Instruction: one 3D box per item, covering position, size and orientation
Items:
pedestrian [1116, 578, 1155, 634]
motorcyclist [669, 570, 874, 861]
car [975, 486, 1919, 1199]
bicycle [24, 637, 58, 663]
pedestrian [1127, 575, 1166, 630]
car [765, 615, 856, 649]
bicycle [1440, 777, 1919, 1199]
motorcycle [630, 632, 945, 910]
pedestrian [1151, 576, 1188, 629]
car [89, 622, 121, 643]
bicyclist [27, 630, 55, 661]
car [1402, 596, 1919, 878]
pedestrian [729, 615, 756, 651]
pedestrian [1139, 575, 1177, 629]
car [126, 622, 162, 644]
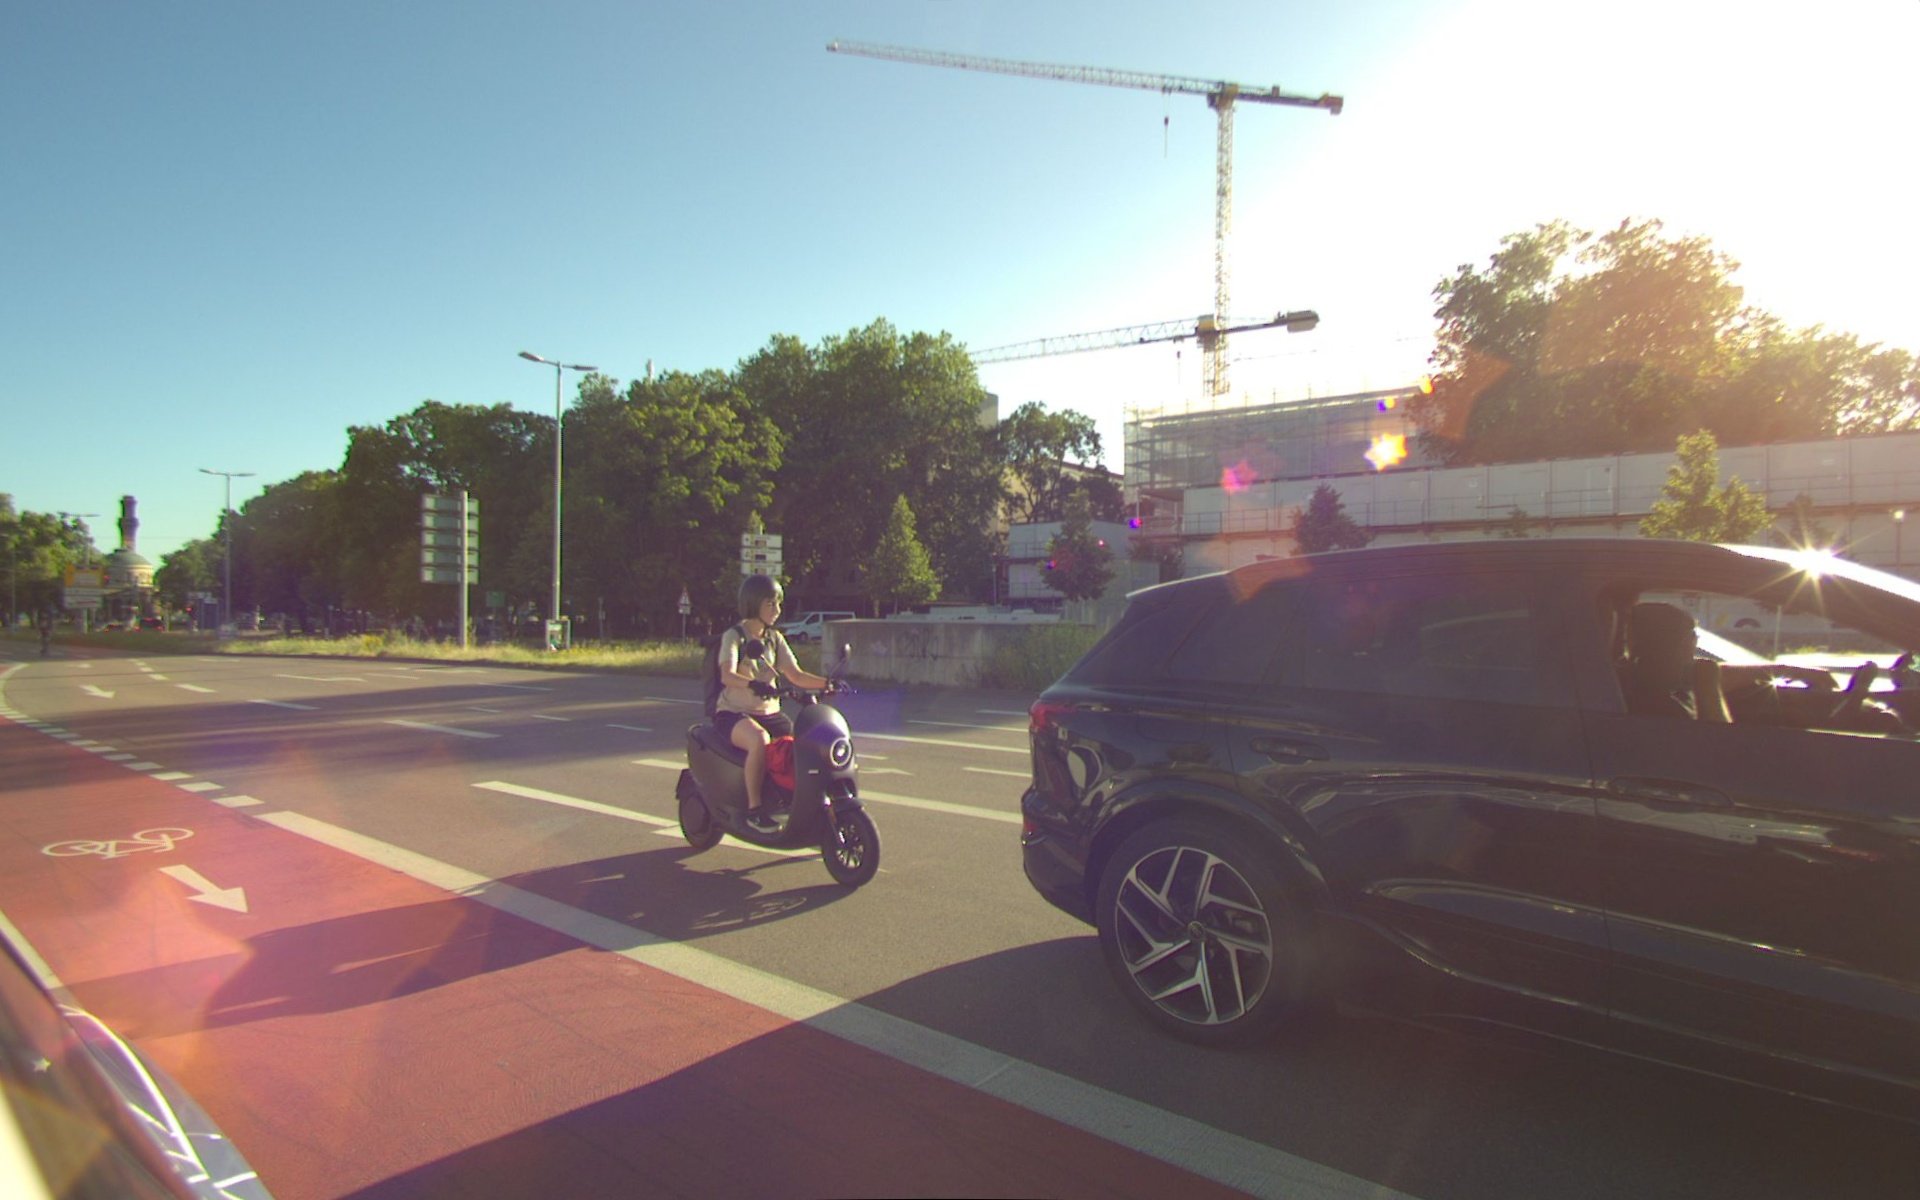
[{"bbox_3d":[6.448,0.215,37.199,1.135,2.029,0.930,-1,0,35],"label":"pedestrian"},{"bbox_3d":[-1.075,0.596,5.755,0.917,1.485,0.717,-2,-1,41],"label":"motorcyclist"},{"bbox_3d":[2.420,0.577,3.012,4.677,1.647,1.753,-1,0,40],"label":"car"},{"bbox_3d":[-42.112,2.292,46.383,2.806,1.124,0.843,-2,-1,41],"label":"bicycle"},{"bbox_3d":[6.999,0.099,37.959,1.135,2.029,0.930,-1,0,35],"label":"pedestrian"},{"bbox_3d":[-9.063,1.923,61.829,2.065,1.950,5.443,-1,-2,42],"label":"car"},{"bbox_3d":[1.224,0.797,0.317,1.829,1.227,0.610,-2,-1,39],"label":"bicycle"},{"bbox_3d":[-1.029,0.842,5.715,1.883,1.303,0.715,-2,-1,41],"label":"motorcycle"},{"bbox_3d":[8.183,0.083,39.477,1.135,2.029,0.930,-1,0,35],"label":"pedestrian"},{"bbox_3d":[-79.875,3.023,94.510,3.945,1.802,1.725,-1,0,41],"label":"car"},{"bbox_3d":[-42.084,2.079,46.344,0.829,1.358,0.843,-2,-1,41],"label":"bicyclist"},{"bbox_3d":[4.978,0.755,6.532,3.603,1.497,1.477,-2,-1,41],"label":"car"},{"bbox_3d":[-11.462,1.730,53.295,1.018,1.845,0.977,-1,0,37],"label":"pedestrian"},{"bbox_3d":[7.575,0.092,38.742,1.135,2.029,0.930,-1,0,35],"label":"pedestrian"},{"bbox_3d":[-71.477,2.842,88.620,3.998,1.841,1.796,-1,0,41],"label":"car"}]
